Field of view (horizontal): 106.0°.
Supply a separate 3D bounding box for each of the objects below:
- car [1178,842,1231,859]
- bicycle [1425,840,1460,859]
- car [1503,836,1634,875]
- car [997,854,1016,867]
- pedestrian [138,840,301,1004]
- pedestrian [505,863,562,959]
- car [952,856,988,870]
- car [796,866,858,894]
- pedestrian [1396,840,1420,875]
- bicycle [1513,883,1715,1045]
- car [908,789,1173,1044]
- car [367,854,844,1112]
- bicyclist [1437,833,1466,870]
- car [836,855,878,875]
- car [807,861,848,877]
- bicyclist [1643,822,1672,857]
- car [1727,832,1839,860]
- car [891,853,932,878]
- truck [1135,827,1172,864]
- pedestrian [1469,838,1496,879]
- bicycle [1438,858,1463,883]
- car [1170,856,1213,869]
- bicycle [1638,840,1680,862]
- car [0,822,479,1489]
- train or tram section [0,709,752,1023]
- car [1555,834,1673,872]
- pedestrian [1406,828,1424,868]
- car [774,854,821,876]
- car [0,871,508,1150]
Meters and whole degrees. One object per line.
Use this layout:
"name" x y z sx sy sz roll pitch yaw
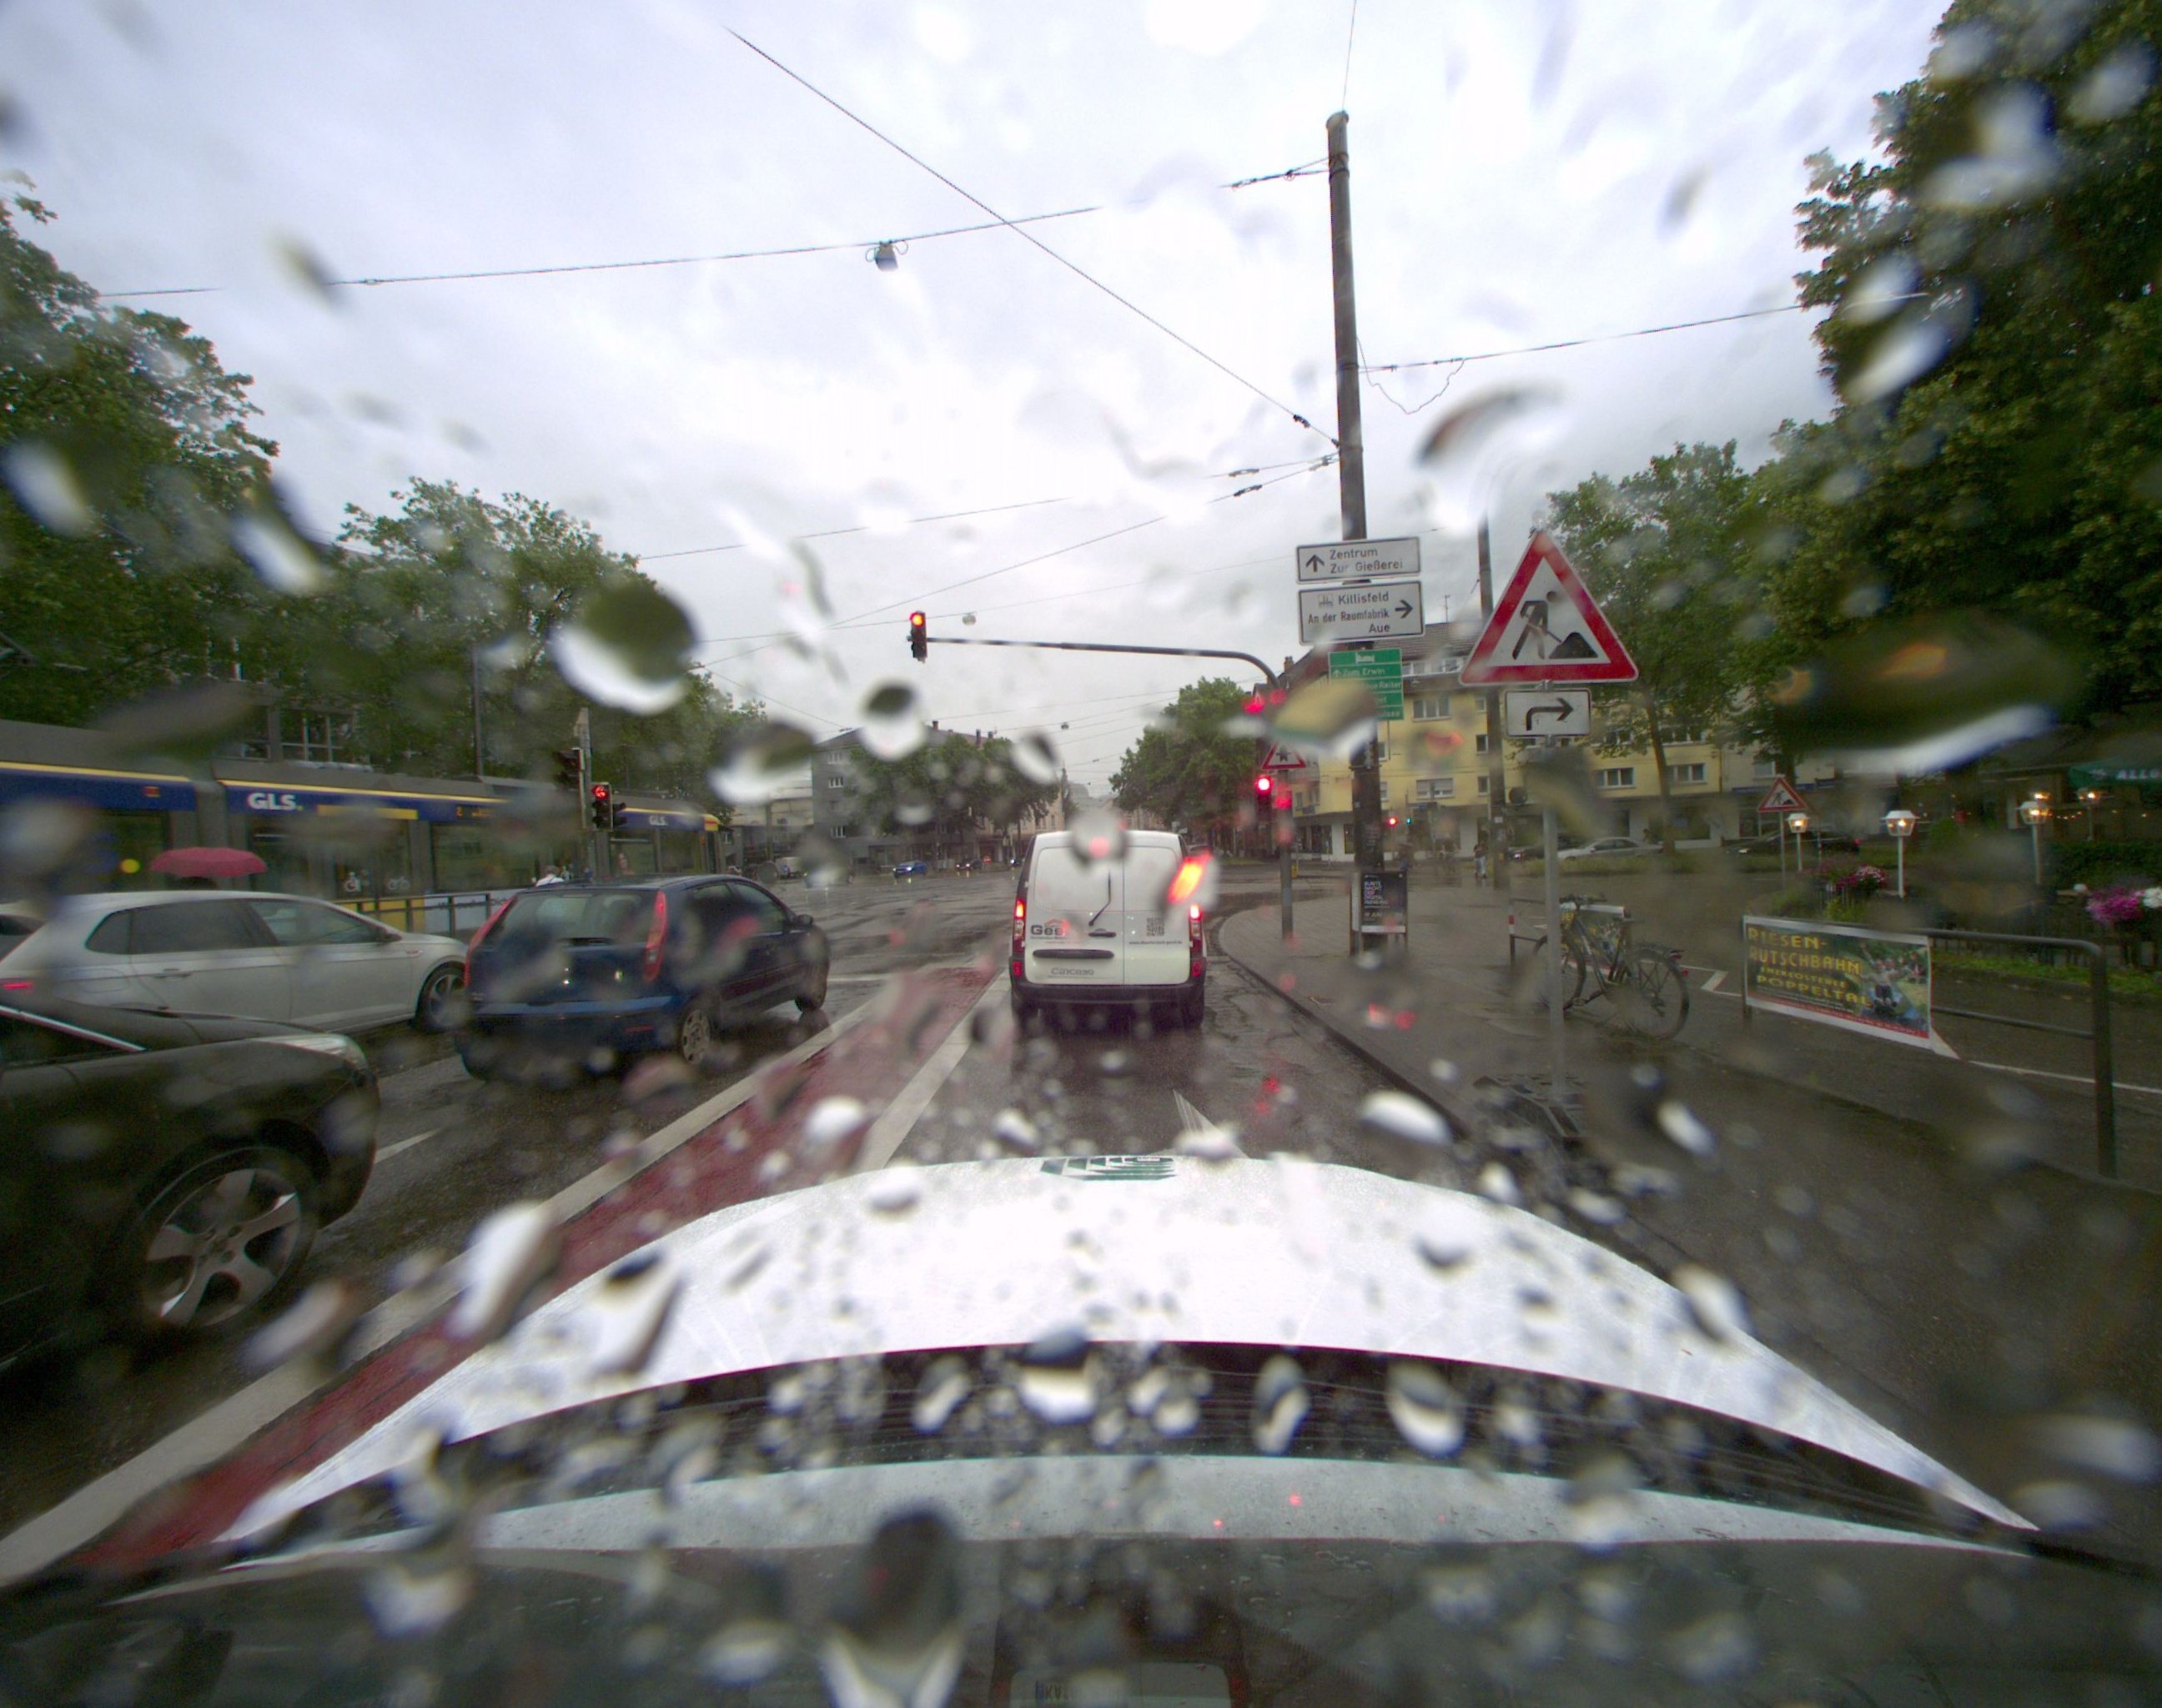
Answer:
"car" 10.404 -0.310 68.871 4.160 1.339 1.518 -2 1 -6
"bicycle" 24.331 -0.297 54.860 2.085 1.261 0.534 -1 1 16
"car" 22.858 0.110 38.374 4.902 1.643 2.007 -1 -3 14
"car" -8.934 0.795 97.648 1.777 1.552 4.002 -1 0 2
"pedestrian" -9.836 0.739 9.337 0.763 1.746 0.899 -4 1 1
"pedestrian" -9.532 0.971 14.204 0.627 1.607 0.737 -1 0 -19
"car" -11.300 0.862 83.059 1.935 1.239 4.020 -1 1 19
"car" -17.025 1.699 54.736 1.935 1.607 4.020 -1 1 19
"pedestrian" 14.276 0.149 35.581 0.820 1.534 0.616 -1 -1 -37
"bicycle" 4.488 0.848 7.049 0.512 1.107 2.018 1 0 3
"car" -0.252 0.525 9.070 2.092 2.012 4.965 -2 -1 2
"car" -3.519 0.808 6.972 1.720 1.578 3.822 -1 0 2
"bicyclist" 16.101 -0.092 35.423 0.874 1.583 0.861 -1 0 6
"car" -23.422 1.182 85.457 1.975 2.013 4.025 -1 0 29
"car" -27.523 1.648 88.489 1.935 1.496 4.025 -1 1 29
"bicyclist" 26.727 -0.672 37.751 0.810 1.615 0.711 -1 0 2
"car" 29.282 -0.319 34.035 3.511 1.082 1.248 -1 0 4
"car" -14.316 0.964 68.867 1.981 2.013 4.011 -1 0 10
"truck" 10.972 -1.231 121.888 3.446 5.087 15.359 -1 0 12
"pedestrian" 16.438 0.182 33.329 0.896 1.669 1.026 -1 0 28
"bicycle" 16.130 0.710 35.564 0.456 1.027 1.906 -1 1 8
"car" 9.549 0.732 70.624 3.437 1.130 1.468 -1 0 -6
"bicycle" 26.790 -0.151 37.742 1.631 1.002 0.422 -1 0 2
"car" -3.646 0.768 1.521 1.827 1.668 4.174 -1 0 2
"train or tram section" -12.426 0.151 16.131 3.520 3.413 15.541 0 0 9
"car" 22.915 -0.054 35.194 3.906 1.490 1.815 -1 1 17
"pedestrian" 17.303 -0.306 42.210 0.787 2.014 0.865 -1 -1 27
"car" -30.753 1.153 88.416 1.975 2.198 4.816 0 2 25
"car" -6.764 0.935 6.490 1.623 1.494 3.783 -1 0 2
